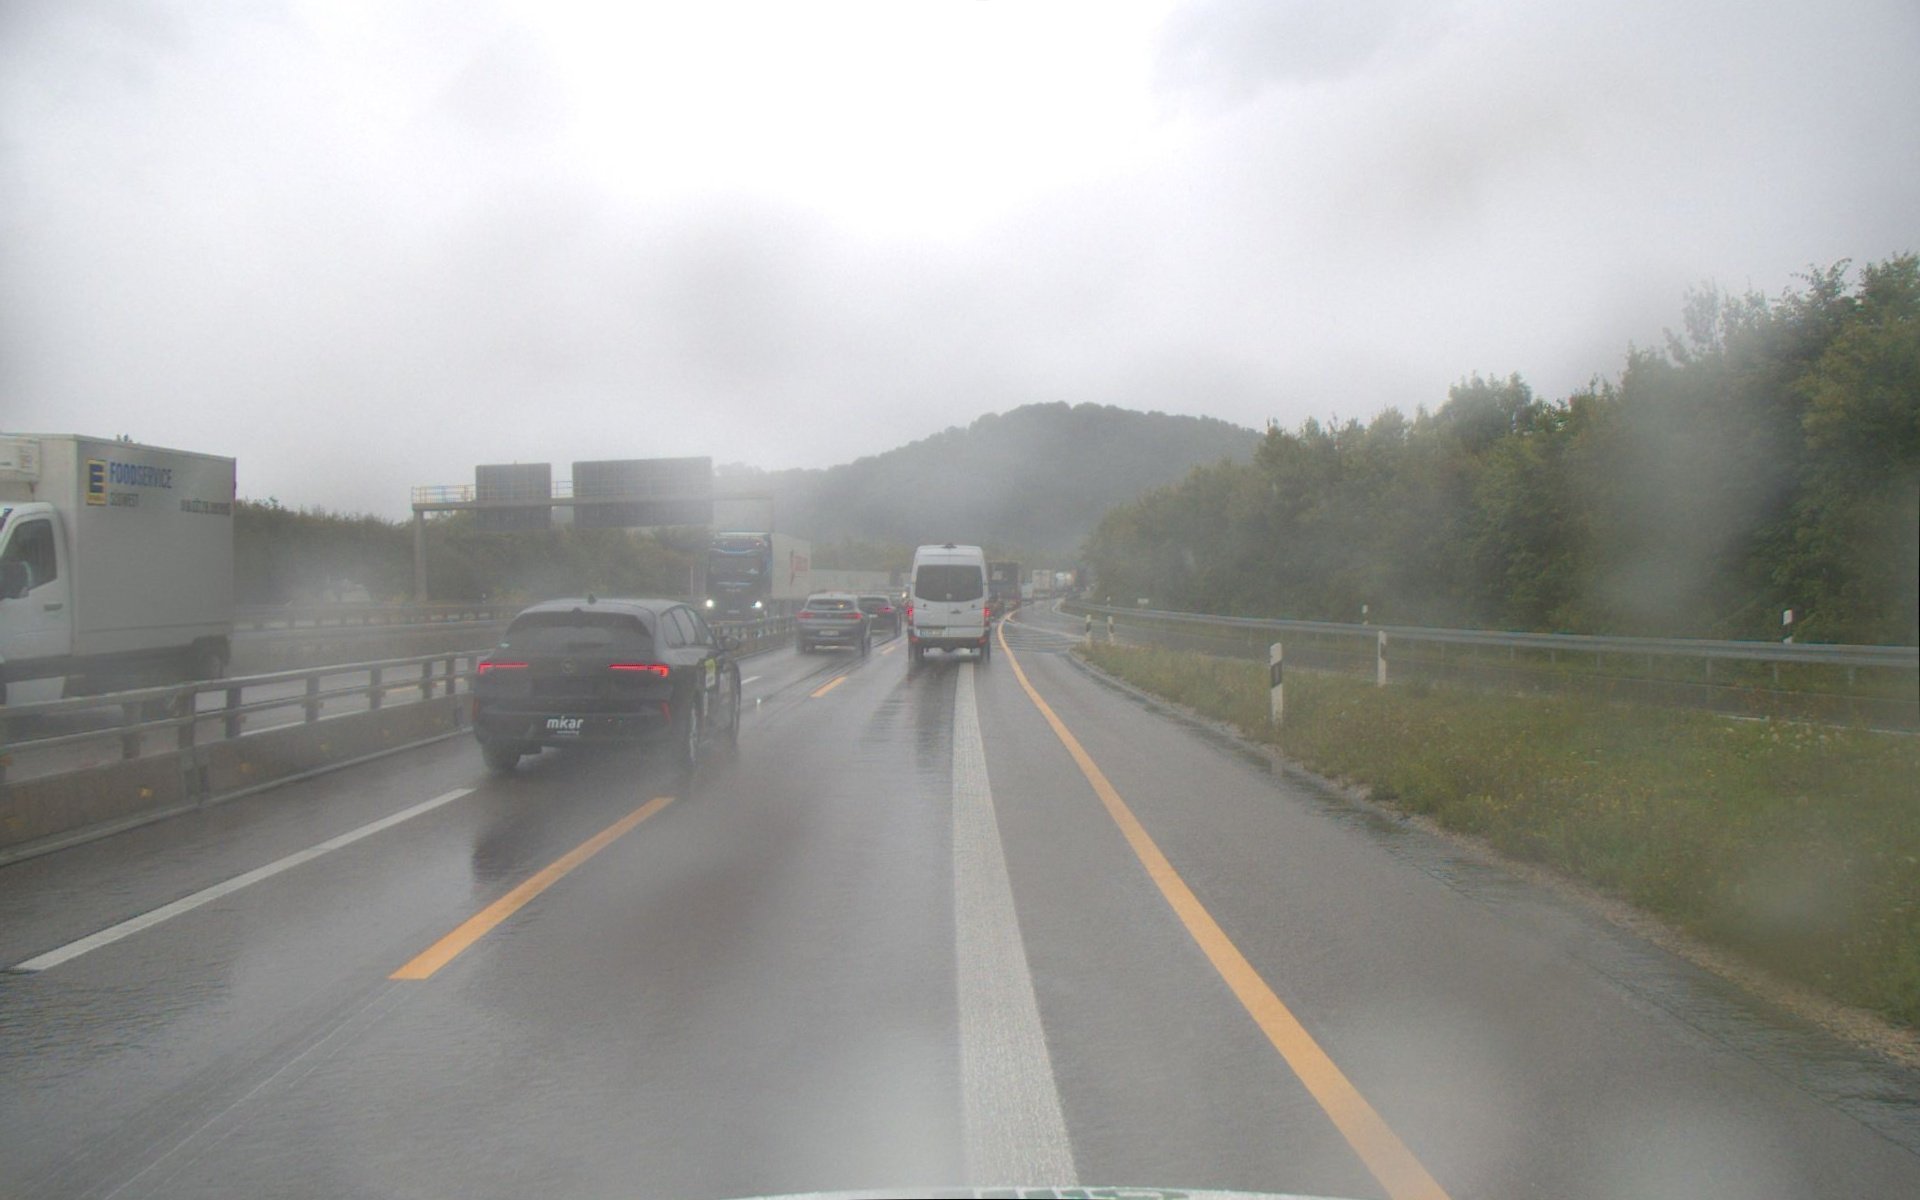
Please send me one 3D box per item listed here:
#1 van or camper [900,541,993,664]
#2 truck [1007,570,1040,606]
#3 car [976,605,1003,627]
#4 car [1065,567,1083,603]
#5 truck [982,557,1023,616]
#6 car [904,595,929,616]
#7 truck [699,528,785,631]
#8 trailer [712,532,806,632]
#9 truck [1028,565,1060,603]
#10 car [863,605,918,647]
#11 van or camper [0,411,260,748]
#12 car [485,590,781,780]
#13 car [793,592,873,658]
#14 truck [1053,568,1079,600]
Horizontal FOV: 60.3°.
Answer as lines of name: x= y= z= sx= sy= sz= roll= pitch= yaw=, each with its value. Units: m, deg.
van or camper: x=-0.299 y=0.062 z=39.745 sx=2.095 sy=2.769 sz=4.648 roll=0 pitch=0 yaw=0
truck: x=6.957 y=-1.260 z=183.461 sx=3.252 sy=3.827 sz=9.906 roll=1 pitch=0 yaw=0
car: x=1.731 y=0.922 z=96.964 sx=1.357 sy=1.278 sz=3.120 roll=0 pitch=0 yaw=-4
car: x=13.663 y=-1.809 z=199.093 sx=2.015 sy=4.265 sz=6.748 roll=0 pitch=0 yaw=3
truck: x=3.623 y=-1.123 z=143.691 sx=3.252 sy=4.868 sz=9.906 roll=1 pitch=-1 yaw=0
car: x=-2.241 y=0.292 z=85.881 sx=1.237 sy=1.097 sz=3.254 roll=0 pitch=0 yaw=-1
truck: x=-9.414 y=-0.823 z=72.061 sx=2.829 sy=4.306 sz=6.326 roll=0 pitch=-1 yaw=1
trailer: x=-9.356 y=-0.712 z=78.550 sx=2.833 sy=4.361 sz=12.894 roll=0 pitch=-1 yaw=0
truck: x=11.374 y=-2.112 z=223.099 sx=3.845 sy=4.868 sz=9.912 roll=1 pitch=-1 yaw=5
car: x=-2.612 y=0.959 z=62.686 sx=1.814 sy=1.527 sz=4.000 roll=0 pitch=0 yaw=1
van or camper: x=-9.965 y=-0.195 z=17.528 sx=2.247 sy=3.094 sz=6.697 roll=1 pitch=-1 yaw=-1
car: x=-2.797 y=0.672 z=15.244 sx=1.900 sy=1.452 sz=4.758 roll=1 pitch=0 yaw=-2
car: x=-3.340 y=0.642 z=44.009 sx=1.829 sy=1.688 sz=3.987 roll=0 pitch=0 yaw=0
truck: x=16.775 y=-2.489 z=261.699 sx=3.845 sy=4.868 sz=9.912 roll=1 pitch=-1 yaw=5
